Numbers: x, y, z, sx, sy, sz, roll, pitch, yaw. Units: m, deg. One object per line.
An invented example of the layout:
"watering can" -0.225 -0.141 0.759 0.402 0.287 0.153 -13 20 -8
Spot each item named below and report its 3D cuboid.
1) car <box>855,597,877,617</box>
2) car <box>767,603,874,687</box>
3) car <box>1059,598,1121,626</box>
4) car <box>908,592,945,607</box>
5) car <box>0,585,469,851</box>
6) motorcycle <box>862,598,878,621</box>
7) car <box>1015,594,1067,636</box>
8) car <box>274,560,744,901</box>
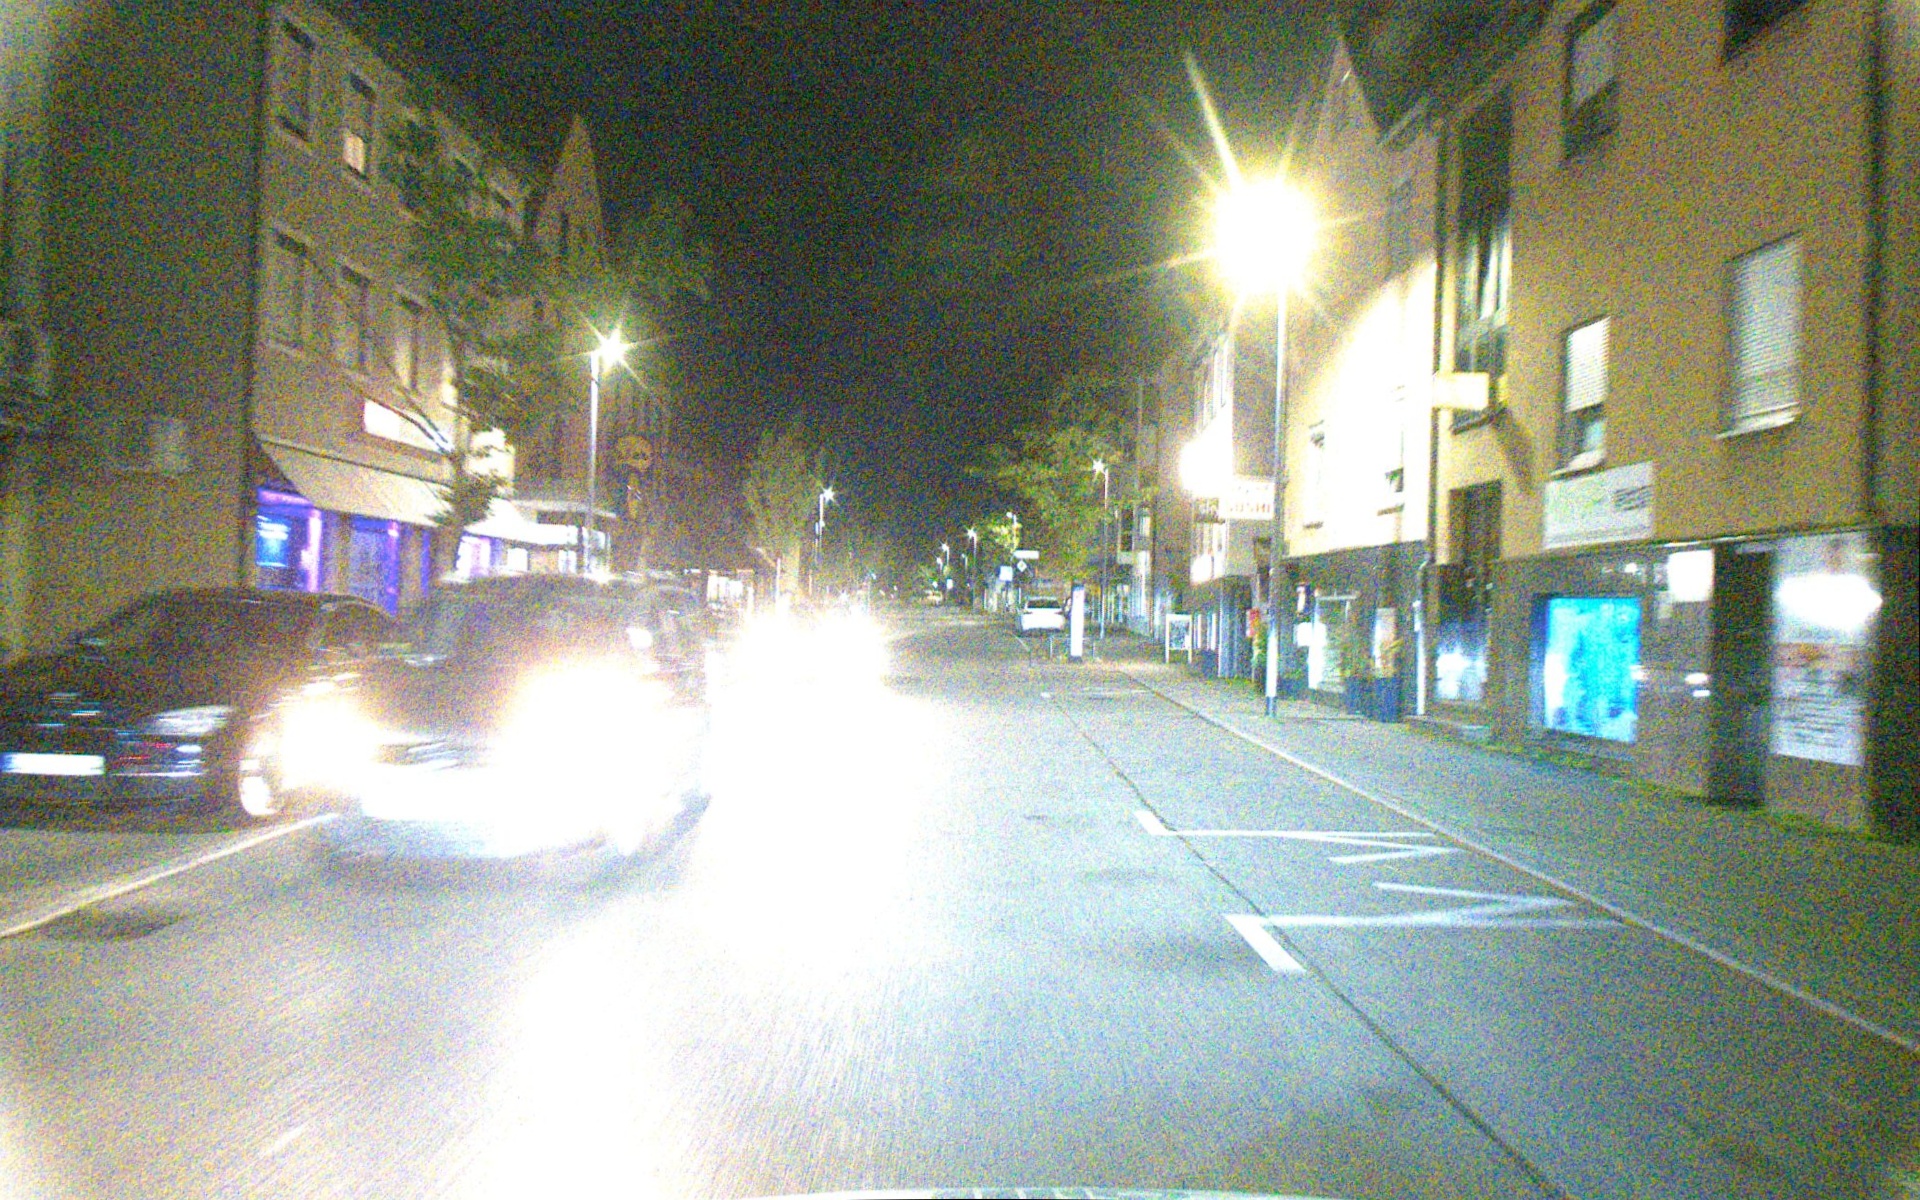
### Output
"car" -7.359 0.525 129.276 1.654 1.537 4.276 1 0 -3
"car" -2.571 0.795 31.219 1.682 1.453 3.815 1 0 0
"car" 7.757 0.708 99.043 3.437 1.551 1.819 -2 0 -5
"car" -4.764 -0.064 234.747 5.081 2.049 2.099 0 0 -5
"car" -5.217 0.673 11.936 1.858 1.444 4.930 3 0 -1
"motorcycle" -5.982 0.626 109.973 0.730 1.477 2.197 1 0 5
"car" 3.169 0.592 65.626 1.707 1.596 4.207 0 0 -2
"car" -2.521 0.649 10.365 1.712 1.674 4.308 1 0 0
